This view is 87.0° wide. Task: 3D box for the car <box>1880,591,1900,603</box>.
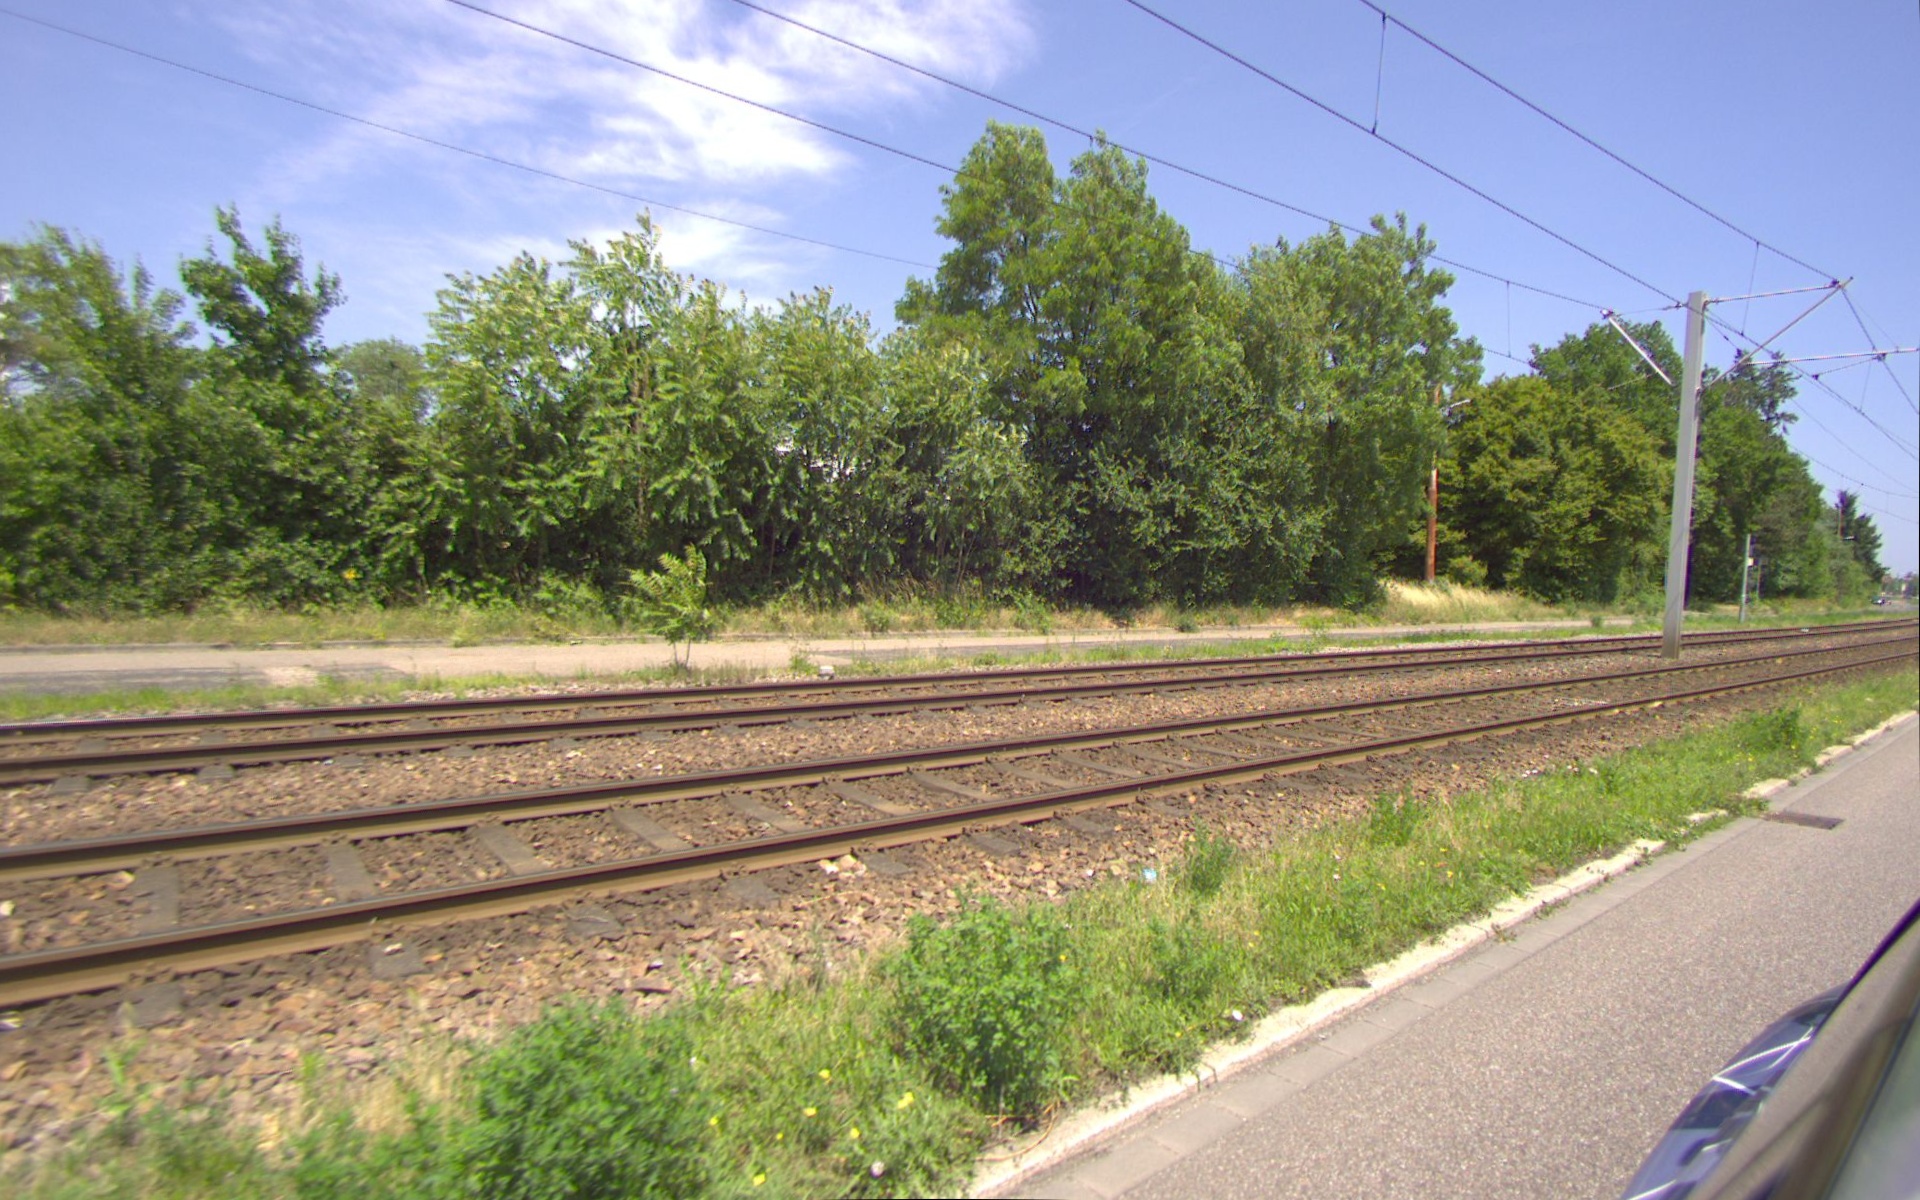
[{"bbox_3d":[137.559,-0.400,149.672,3.933,1.742,1.995,-1,1,-43],"label":"car"}]
